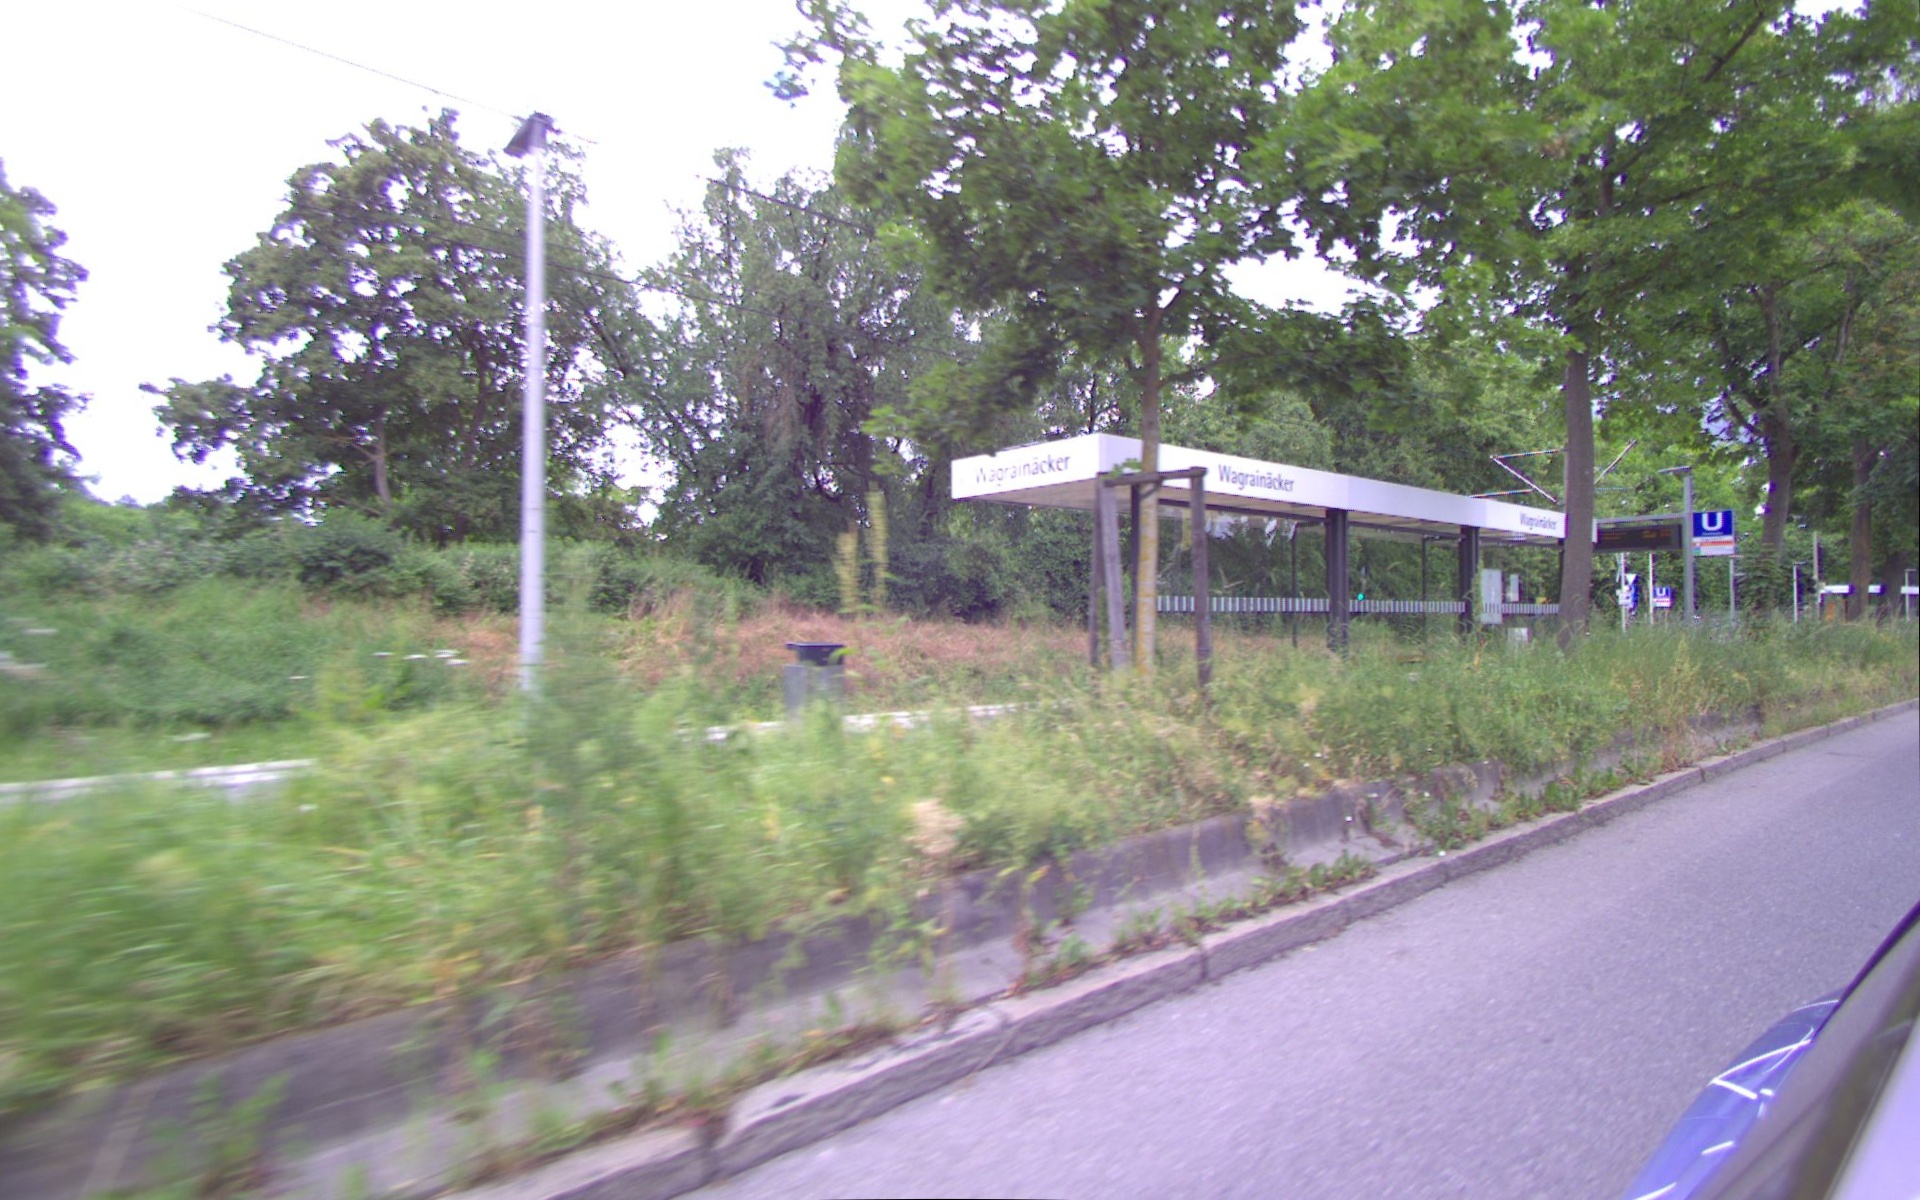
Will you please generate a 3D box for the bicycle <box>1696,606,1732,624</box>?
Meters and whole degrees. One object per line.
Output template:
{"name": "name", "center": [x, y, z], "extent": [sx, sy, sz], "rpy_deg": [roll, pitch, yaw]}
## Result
{"name": "bicycle", "center": [41.801, 0.830, 56.090], "extent": [0.441, 0.986, 1.513], "rpy_deg": [1, -3, -34]}
